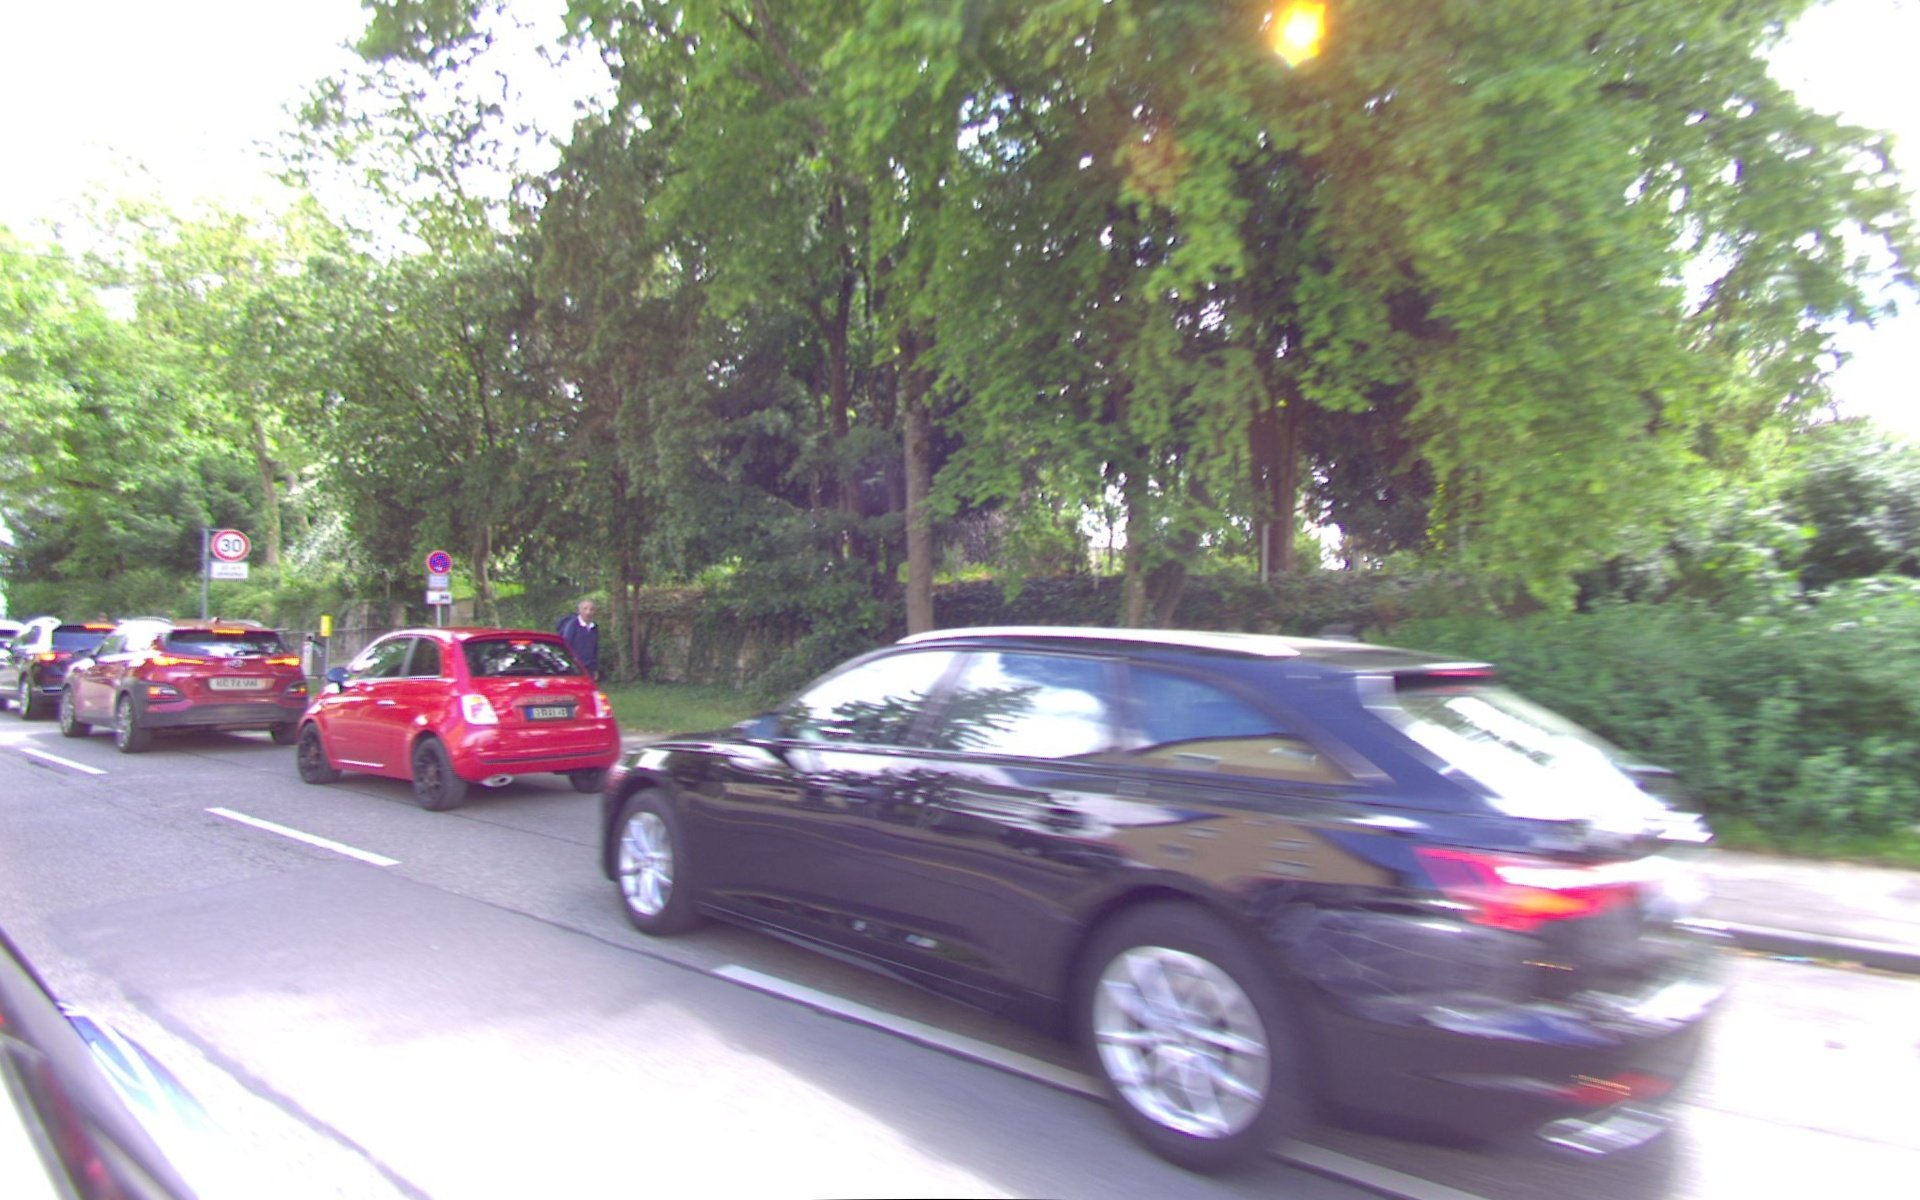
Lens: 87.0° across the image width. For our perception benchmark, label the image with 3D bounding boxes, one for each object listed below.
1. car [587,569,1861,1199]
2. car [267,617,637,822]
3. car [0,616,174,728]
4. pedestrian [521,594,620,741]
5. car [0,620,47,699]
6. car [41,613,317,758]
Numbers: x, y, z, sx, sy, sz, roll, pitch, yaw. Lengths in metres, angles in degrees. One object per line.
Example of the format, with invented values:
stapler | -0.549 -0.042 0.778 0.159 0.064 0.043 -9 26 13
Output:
car | 0.462 0.765 3.993 4.561 1.535 1.798 -1 -2 44
car | -4.768 0.970 9.348 3.563 1.535 1.599 -1 -4 37
car | -14.651 1.093 16.571 3.962 1.603 1.741 0 -3 36
pedestrian | -5.185 0.863 13.479 1.021 1.861 0.825 0 -1 39
car | -21.306 1.195 21.673 3.996 1.603 1.741 0 -4 36
car | -10.032 0.999 12.910 3.995 1.568 1.759 -1 -4 38
